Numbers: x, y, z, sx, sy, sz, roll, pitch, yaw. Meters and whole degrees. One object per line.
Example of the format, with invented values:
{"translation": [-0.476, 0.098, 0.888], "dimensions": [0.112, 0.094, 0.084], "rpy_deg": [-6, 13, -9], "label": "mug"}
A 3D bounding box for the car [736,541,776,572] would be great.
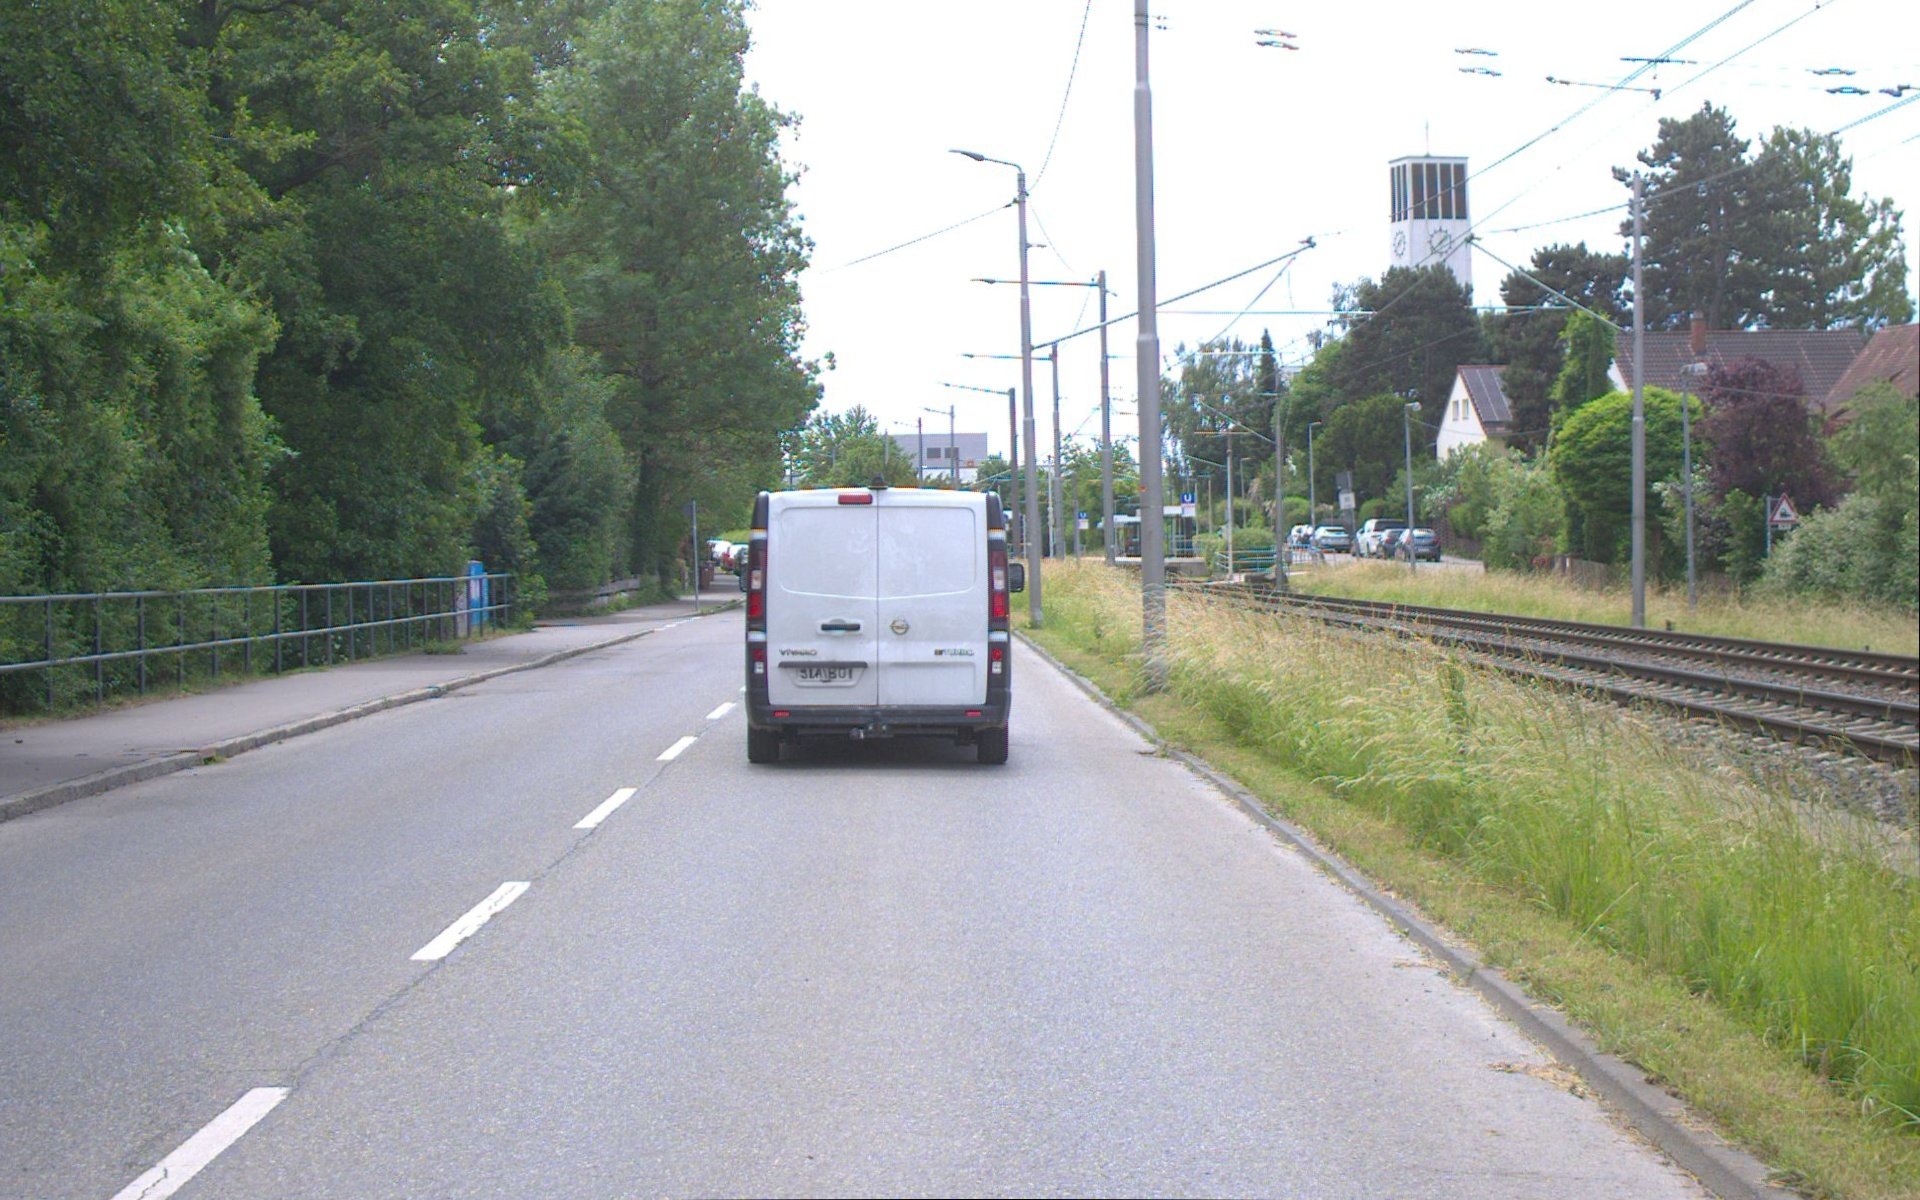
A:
{"translation": [-10.652, -2.300, 179.172], "dimensions": [1.736, 1.499, 4.479], "rpy_deg": [-3, 1, -7], "label": "car"}

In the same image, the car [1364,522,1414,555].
{"translation": [20.337, -2.915, 163.135], "dimensions": [1.883, 1.517, 4.000], "rpy_deg": [-1, 1, 0], "label": "car"}

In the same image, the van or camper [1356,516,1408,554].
{"translation": [20.578, -3.165, 167.852], "dimensions": [1.905, 1.819, 5.048], "rpy_deg": [-1, 1, 0], "label": "van or camper"}

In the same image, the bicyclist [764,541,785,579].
{"translation": [-7.746, -1.669, 143.650], "dimensions": [0.778, 1.544, 0.870], "rpy_deg": [-1, 1, -1], "label": "bicyclist"}

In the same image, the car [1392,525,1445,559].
{"translation": [20.916, -2.649, 156.980], "dimensions": [1.883, 1.517, 4.000], "rpy_deg": [-1, 1, 0], "label": "car"}

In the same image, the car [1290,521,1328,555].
{"translation": [20.108, -3.553, 198.116], "dimensions": [1.732, 1.907, 3.935], "rpy_deg": [1, 0, -1], "label": "car"}

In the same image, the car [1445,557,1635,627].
{"translation": [12.655, -0.178, 75.246], "dimensions": [3.988, 1.474, 1.956], "rpy_deg": [0, 1, 6], "label": "car"}

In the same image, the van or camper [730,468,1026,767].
{"translation": [-0.569, 0.098, 25.489], "dimensions": [1.993, 2.007, 4.446], "rpy_deg": [0, 1, 0], "label": "van or camper"}

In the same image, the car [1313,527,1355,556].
{"translation": [20.619, -3.230, 189.752], "dimensions": [1.883, 1.517, 4.000], "rpy_deg": [-1, 1, 0], "label": "car"}

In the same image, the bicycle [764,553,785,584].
{"translation": [-7.738, -1.319, 143.509], "dimensions": [0.755, 1.222, 2.308], "rpy_deg": [-3, 1, -1], "label": "bicycle"}

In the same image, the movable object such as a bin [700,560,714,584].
{"translation": [-9.750, -1.085, 132.401], "dimensions": [0.513, 0.942, 0.568], "rpy_deg": [0, 1, -1], "label": "movable object such as a bin"}
